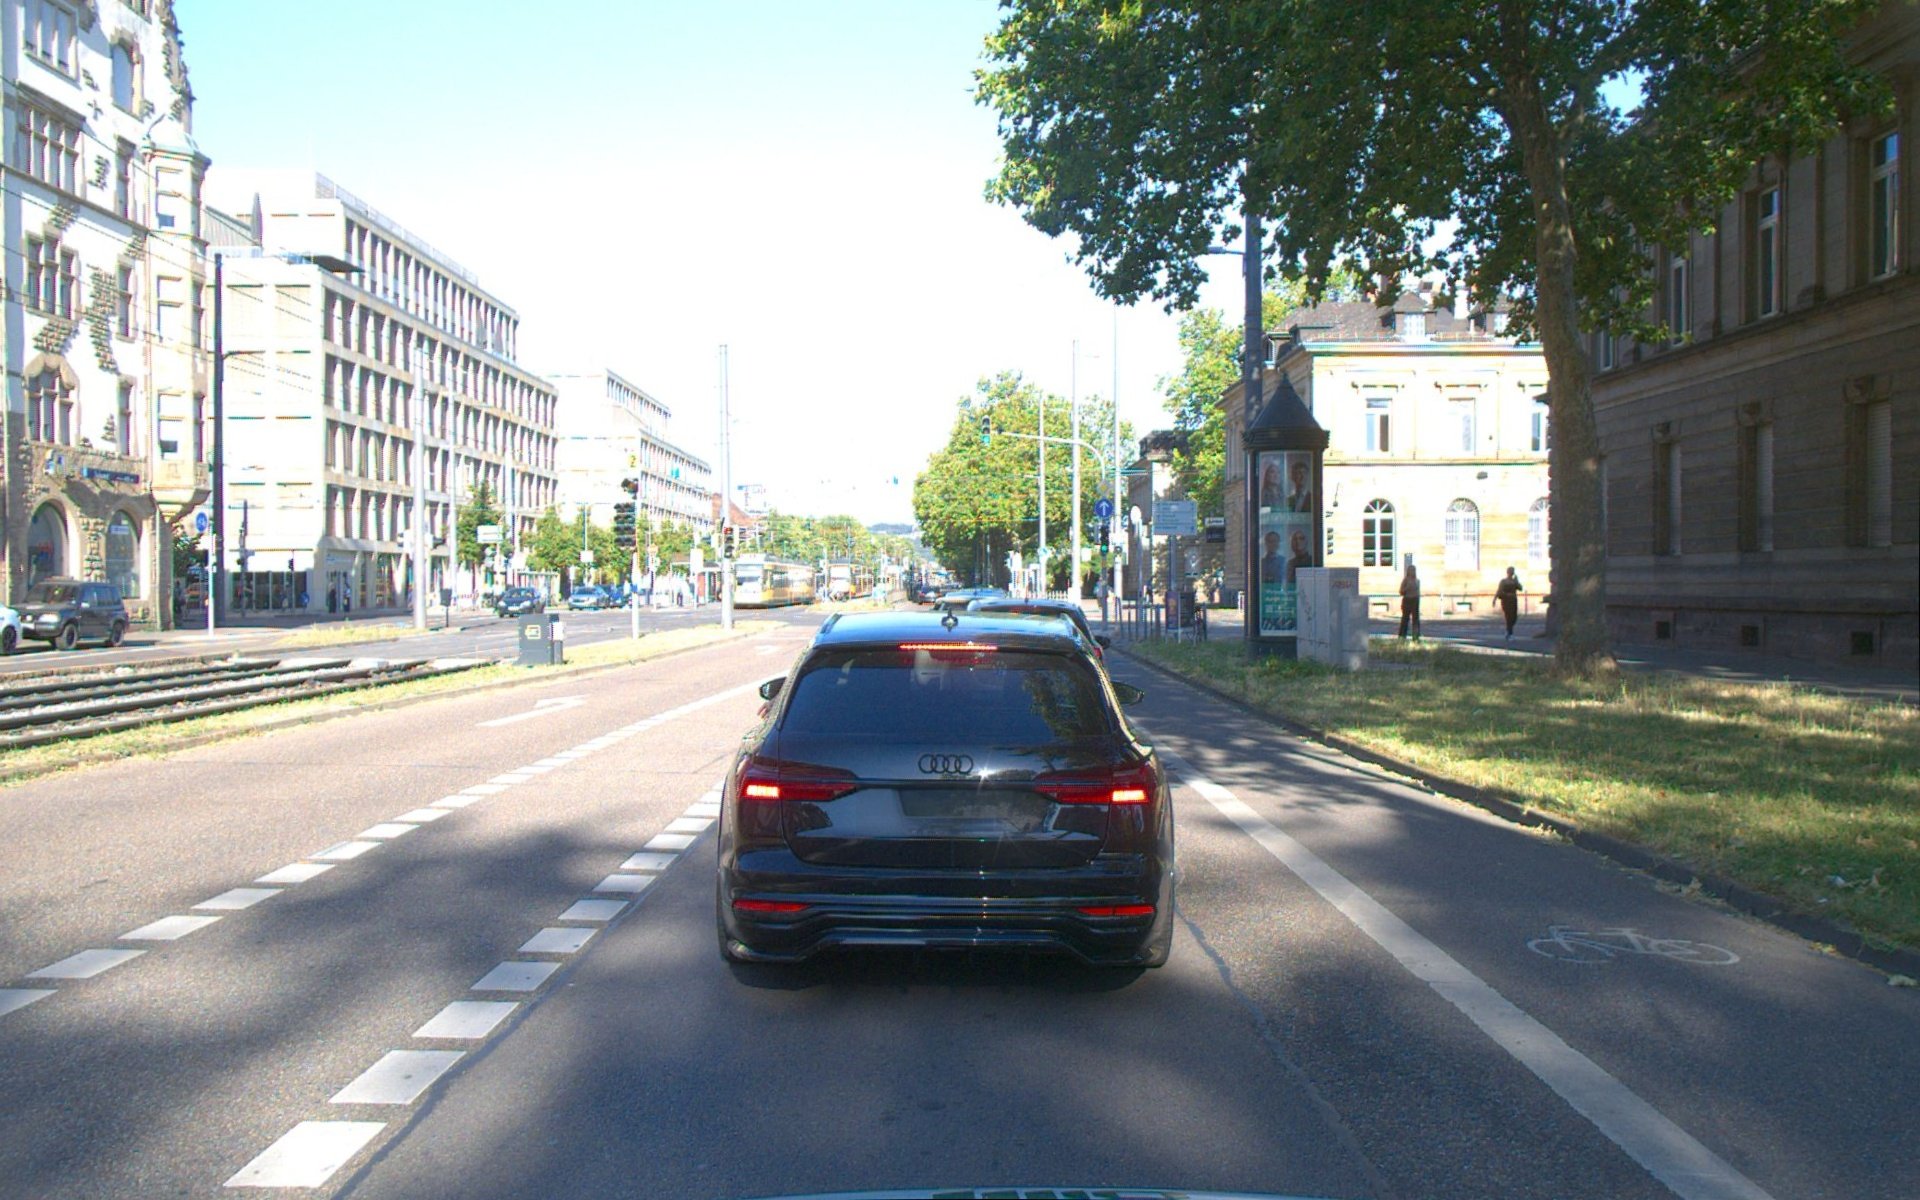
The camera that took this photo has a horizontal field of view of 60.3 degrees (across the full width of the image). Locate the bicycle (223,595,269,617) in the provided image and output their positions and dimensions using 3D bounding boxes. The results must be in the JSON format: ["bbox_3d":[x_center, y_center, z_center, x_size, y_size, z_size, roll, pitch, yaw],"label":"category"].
[{"bbox_3d":[-40.278,0.337,93.322,2.333,1.236,0.577,-1,0,-1],"label":"bicycle"}]

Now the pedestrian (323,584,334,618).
[{"bbox_3d":[-35.340,0.045,92.579,0.468,1.876,0.437,-1,0,-38],"label":"pedestrian"}]

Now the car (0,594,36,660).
[{"bbox_3d":[-22.438,0.611,36.404,1.682,1.448,4.654,2,1,-2],"label":"car"}]

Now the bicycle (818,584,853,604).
[{"bbox_3d":[-7.389,-0.371,98.053,1.976,1.127,0.760,-1,1,-21],"label":"bicycle"}]

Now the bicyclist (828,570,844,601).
[{"bbox_3d":[-7.337,-0.854,98.075,0.745,1.850,0.760,-1,0,-20],"label":"bicyclist"}]

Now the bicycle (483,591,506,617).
[{"bbox_3d":[-25.732,0.198,91.490,0.671,1.406,1.947,-1,0,1],"label":"bicycle"}]

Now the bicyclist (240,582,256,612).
[{"bbox_3d":[-40.190,-0.163,93.323,0.628,1.715,0.577,-1,0,-1],"label":"bicyclist"}]

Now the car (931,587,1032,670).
[{"bbox_3d":[0.398,0.525,32.756,1.864,1.512,4.144,1,0,0],"label":"car"}]

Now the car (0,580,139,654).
[{"bbox_3d":[-22.522,0.379,41.638,1.682,1.704,4.215,2,1,-2],"label":"car"}]

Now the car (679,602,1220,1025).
[{"bbox_3d":[-0.033,0.746,7.830,1.864,1.446,4.144,1,0,0],"label":"car"}]

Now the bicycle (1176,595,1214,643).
[{"bbox_3d":[5.552,0.439,39.109,0.529,1.080,1.770,-1,1,-4],"label":"bicycle"}]

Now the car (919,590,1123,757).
[{"bbox_3d":[0.567,0.679,17.356,1.864,1.512,4.144,1,0,0],"label":"car"}]

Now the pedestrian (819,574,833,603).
[{"bbox_3d":[-8.078,-0.697,99.598,0.728,1.772,0.660,-1,0,-18],"label":"pedestrian"}]

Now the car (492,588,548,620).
[{"bbox_3d":[-21.369,0.191,80.466,1.784,1.482,4.163,-1,0,-3],"label":"car"}]

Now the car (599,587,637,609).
[{"bbox_3d":[-23.291,-0.163,112.862,1.783,1.482,4.156,-1,0,-1],"label":"car"}]

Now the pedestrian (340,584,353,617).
[{"bbox_3d":[-34.497,0.028,92.987,0.527,1.876,0.437,-1,0,-39],"label":"pedestrian"}]

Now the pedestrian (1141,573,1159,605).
[{"bbox_3d":[11.287,-0.645,98.164,0.959,1.898,0.826,-1,0,-1],"label":"pedestrian"}]

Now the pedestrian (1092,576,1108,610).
[{"bbox_3d":[6.988,-0.332,82.519,0.668,1.689,0.758,-1,0,-2],"label":"pedestrian"}]

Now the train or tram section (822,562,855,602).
[{"bbox_3d":[-10.999,-1.643,150.643,2.556,3.511,11.128,-1,1,-2],"label":"train or tram section"}]

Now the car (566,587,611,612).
[{"bbox_3d":[-22.943,-0.078,102.251,1.783,1.482,4.540,-1,0,-1],"label":"car"}]

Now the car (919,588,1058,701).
[{"bbox_3d":[0.385,0.607,24.519,1.864,1.512,4.144,1,0,0],"label":"car"}]

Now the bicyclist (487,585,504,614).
[{"bbox_3d":[-25.671,-0.022,91.472,0.671,1.590,0.785,-1,0,1],"label":"bicyclist"}]

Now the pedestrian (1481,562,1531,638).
[{"bbox_3d":[12.065,-0.009,36.568,0.753,1.634,0.986,-1,0,1],"label":"pedestrian"}]

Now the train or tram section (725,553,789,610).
[{"bbox_3d":[-13.606,-1.240,111.719,2.755,3.550,13.202,-1,1,0],"label":"train or tram section"}]

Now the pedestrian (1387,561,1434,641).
[{"bbox_3d":[10.001,0.012,36.777,0.753,1.739,1.042,-1,0,1],"label":"pedestrian"}]

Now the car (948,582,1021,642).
[{"bbox_3d":[0.637,0.303,44.759,1.864,1.512,4.144,1,0,0],"label":"car"}]

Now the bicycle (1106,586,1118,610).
[{"bbox_3d":[7.602,-0.090,82.543,0.426,1.165,1.340,-1,1,-2],"label":"bicycle"}]
